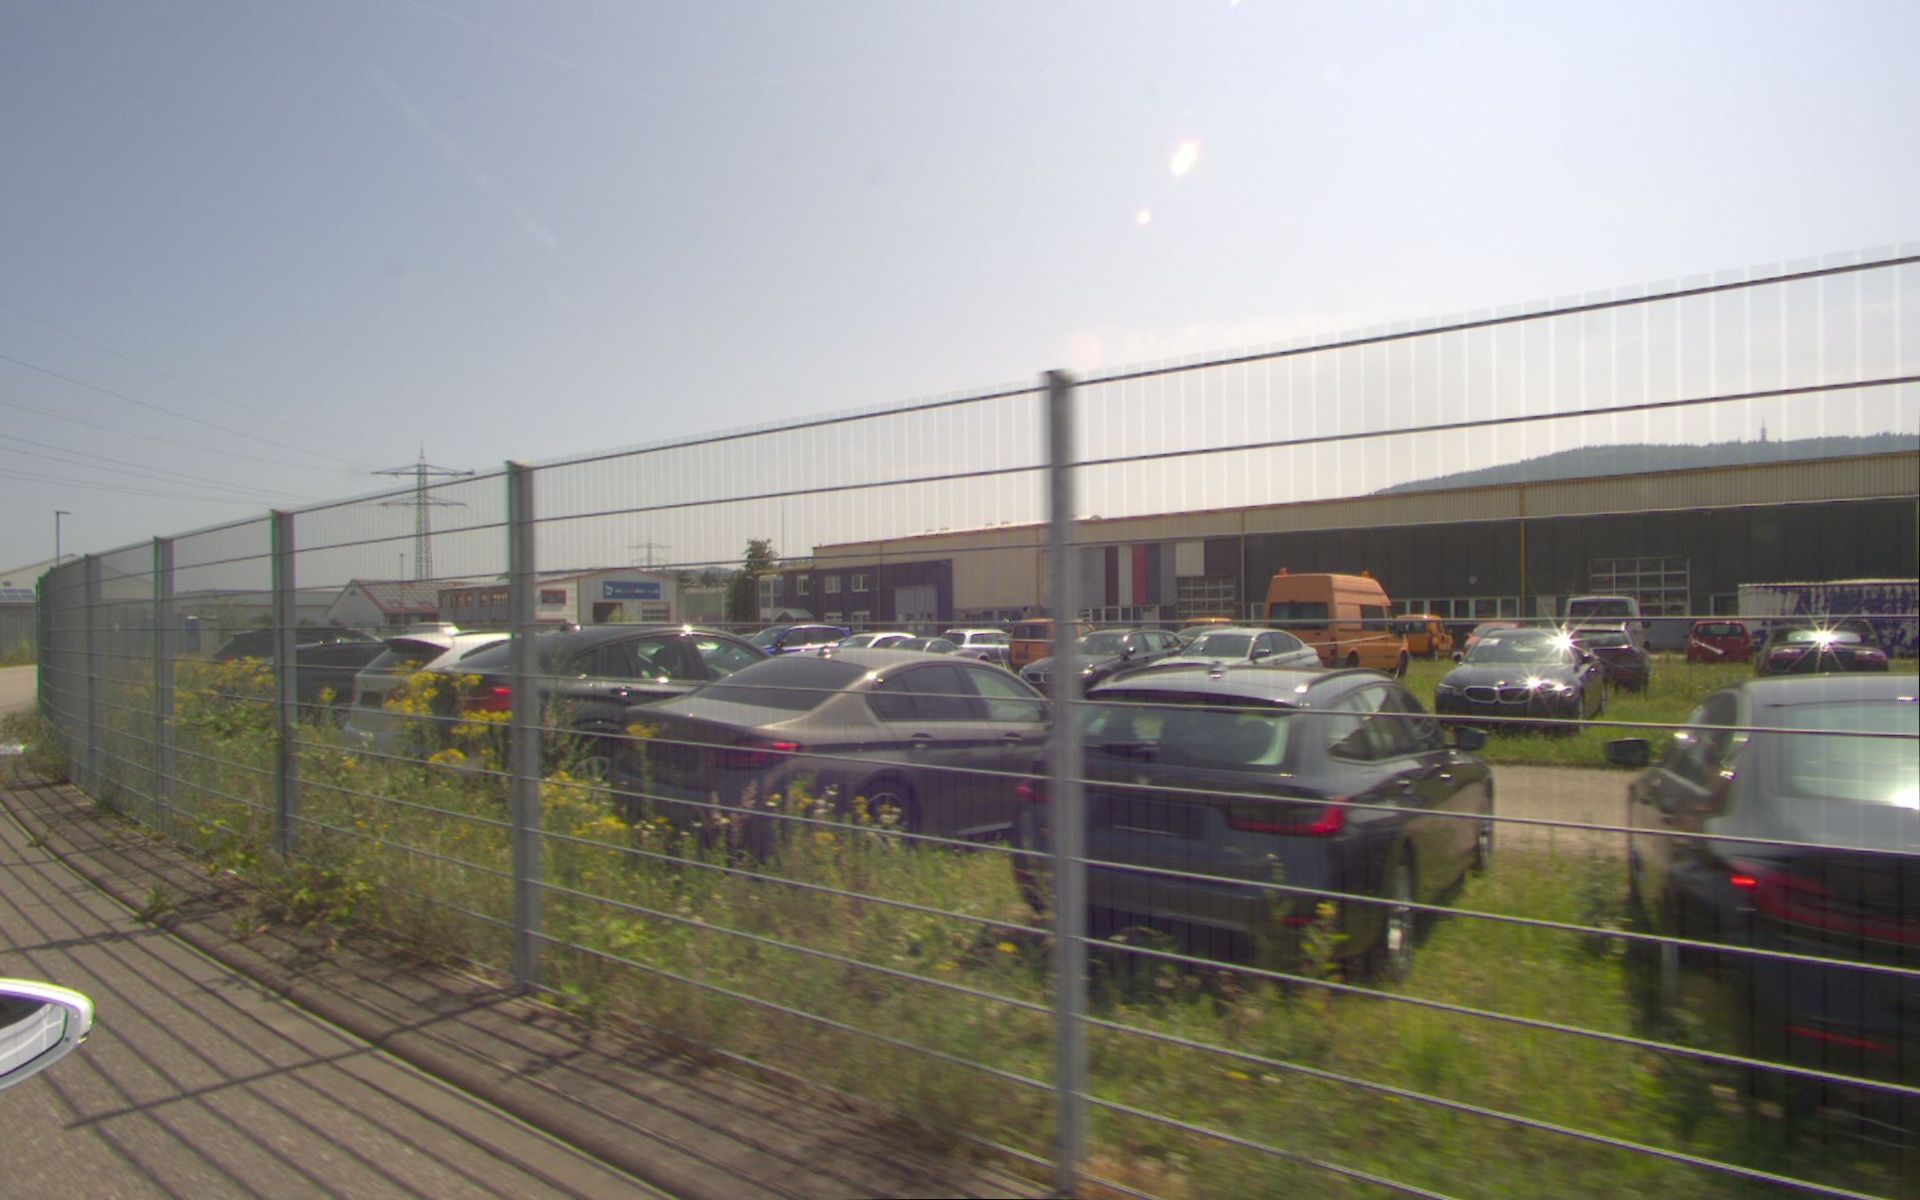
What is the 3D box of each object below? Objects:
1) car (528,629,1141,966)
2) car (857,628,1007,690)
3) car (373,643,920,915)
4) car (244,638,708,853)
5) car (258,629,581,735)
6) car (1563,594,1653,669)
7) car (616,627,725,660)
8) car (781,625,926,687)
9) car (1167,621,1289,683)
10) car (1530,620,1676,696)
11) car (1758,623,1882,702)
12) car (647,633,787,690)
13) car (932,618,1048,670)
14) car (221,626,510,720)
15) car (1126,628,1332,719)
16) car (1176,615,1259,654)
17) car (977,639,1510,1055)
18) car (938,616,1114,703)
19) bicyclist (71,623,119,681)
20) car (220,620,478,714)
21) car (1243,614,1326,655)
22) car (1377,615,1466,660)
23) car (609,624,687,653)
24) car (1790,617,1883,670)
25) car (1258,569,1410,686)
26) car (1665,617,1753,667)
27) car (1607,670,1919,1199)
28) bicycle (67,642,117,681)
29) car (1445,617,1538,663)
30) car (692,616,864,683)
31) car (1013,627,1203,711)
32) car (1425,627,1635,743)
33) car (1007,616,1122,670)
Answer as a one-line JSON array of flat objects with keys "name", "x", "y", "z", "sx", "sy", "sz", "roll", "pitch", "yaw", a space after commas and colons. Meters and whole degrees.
[{"name": "car", "x": -0.586, "y": 1.070, "z": 7.357, "sx": 1.775, "sy": 1.603, "sz": 4.447, "roll": 0, "pitch": 0, "yaw": 41}, {"name": "car", "x": -0.623, "y": 1.398, "z": 24.709, "sx": 1.594, "sy": 1.319, "sz": 3.741, "roll": 0, "pitch": 0, "yaw": 42}, {"name": "car", "x": -2.552, "y": 1.316, "z": 9.022, "sx": 1.705, "sy": 1.692, "sz": 4.442, "roll": 0, "pitch": 0, "yaw": 44}, {"name": "car", "x": -4.910, "y": 1.319, "z": 10.583, "sx": 1.705, "sy": 1.692, "sz": 4.097, "roll": 0, "pitch": 0, "yaw": 44}, {"name": "car", "x": -8.585, "y": 1.211, "z": 16.141, "sx": 4.309, "sy": 1.396, "sz": 1.749, "roll": 0, "pitch": 0, "yaw": -42}, {"name": "car", "x": 20.679, "y": 0.945, "z": 31.888, "sx": 1.950, "sy": 2.200, "sz": 4.356, "roll": 0, "pitch": 0, "yaw": 39}, {"name": "car", "x": -12.789, "y": 1.910, "z": 44.463, "sx": 1.609, "sy": 1.368, "sz": 4.485, "roll": -2, "pitch": -2, "yaw": 43}, {"name": "car", "x": -2.762, "y": 1.412, "z": 26.540, "sx": 1.594, "sy": 1.456, "sz": 3.741, "roll": 0, "pitch": 0, "yaw": 42}, {"name": "car", "x": 7.142, "y": 1.314, "z": 26.491, "sx": 1.571, "sy": 1.481, "sz": 3.797, "roll": 0, "pitch": 0, "yaw": 42}, {"name": "car", "x": 12.962, "y": 1.075, "z": 20.057, "sx": 1.801, "sy": 1.286, "sz": 4.353, "roll": 0, "pitch": 0, "yaw": 42}, {"name": "car", "x": 15.728, "y": 1.051, "z": 18.287, "sx": 1.559, "sy": 1.199, "sz": 4.353, "roll": 0, "pitch": 0, "yaw": 42}, {"name": "car", "x": -7.049, "y": 1.733, "z": 29.302, "sx": 1.594, "sy": 1.456, "sz": 3.741, "roll": 0, "pitch": 0, "yaw": 42}, {"name": "car", "x": 0.999, "y": 1.334, "z": 31.596, "sx": 1.571, "sy": 1.481, "sz": 3.797, "roll": 0, "pitch": 0, "yaw": 42}, {"name": "car", "x": -10.441, "y": 1.201, "z": 17.747, "sx": 4.241, "sy": 1.396, "sz": 1.752, "roll": 0, "pitch": 0, "yaw": -36}, {"name": "car", "x": 5.150, "y": 1.268, "z": 18.739, "sx": 1.801, "sy": 1.369, "sz": 4.719, "roll": 0, "pitch": 0, "yaw": 42}, {"name": "car", "x": 10.822, "y": 1.395, "z": 41.899, "sx": 1.732, "sy": 1.505, "sz": 4.356, "roll": 0, "pitch": 0, "yaw": 39}, {"name": "car", "x": 2.058, "y": 1.011, "z": 6.040, "sx": 1.700, "sy": 1.400, "sz": 4.455, "roll": 0, "pitch": 0, "yaw": 36}, {"name": "car", "x": 1.596, "y": 1.284, "z": 23.140, "sx": 1.979, "sy": 1.740, "sz": 3.964, "roll": -1, "pitch": 0, "yaw": 43}, {"name": "bicyclist", "x": -25.371, "y": 1.507, "z": 29.377, "sx": 0.833, "sy": 1.639, "sz": 1.034, "roll": 1, "pitch": -1, "yaw": -28}, {"name": "car", "x": -12.086, "y": 1.268, "z": 20.115, "sx": 4.232, "sy": 1.659, "sz": 1.756, "roll": 0, "pitch": 0, "yaw": -29}, {"name": "car", "x": 13.061, "y": 1.348, "z": 40.154, "sx": 1.732, "sy": 1.505, "sz": 4.356, "roll": 0, "pitch": 0, "yaw": 39}, {"name": "car", "x": 16.849, "y": 1.317, "z": 36.455, "sx": 1.950, "sy": 1.505, "sz": 4.356, "roll": 0, "pitch": 0, "yaw": 39}, {"name": "car", "x": -21.964, "y": 2.696, "z": 70.699, "sx": 1.838, "sy": 1.923, "sz": 5.032, "roll": -1, "pitch": -2, "yaw": 43}, {"name": "car", "x": 26.021, "y": 1.248, "z": 29.856, "sx": 1.950, "sy": 1.404, "sz": 4.356, "roll": 0, "pitch": 0, "yaw": 39}, {"name": "car", "x": 9.312, "y": 0.632, "z": 24.705, "sx": 1.958, "sy": 2.619, "sz": 4.706, "roll": 0, "pitch": 0, "yaw": 42}, {"name": "car", "x": 22.775, "y": 1.225, "z": 30.377, "sx": 1.950, "sy": 1.340, "sz": 4.356, "roll": 0, "pitch": 0, "yaw": 39}, {"name": "car", "x": 3.686, "y": 1.026, "z": 3.950, "sx": 1.700, "sy": 1.399, "sz": 4.453, "roll": 0, "pitch": -3, "yaw": 36}, {"name": "bicycle", "x": -25.334, "y": 1.785, "z": 29.252, "sx": 0.677, "sy": 1.065, "sz": 1.892, "roll": 1, "pitch": -2, "yaw": -28}, {"name": "car", "x": 18.064, "y": 1.314, "z": 33.949, "sx": 1.821, "sy": 1.396, "sz": 4.353, "roll": 0, "pitch": 0, "yaw": 42}, {"name": "car", "x": -4.971, "y": 1.303, "z": 27.751, "sx": 4.431, "sy": 1.670, "sz": 1.860, "roll": 0, "pitch": 0, "yaw": -44}, {"name": "car", "x": 3.137, "y": 1.316, "z": 20.483, "sx": 1.644, "sy": 1.451, "sz": 4.537, "roll": 0, "pitch": 0, "yaw": 42}, {"name": "car", "x": 8.691, "y": 1.138, "z": 15.066, "sx": 1.801, "sy": 1.369, "sz": 4.719, "roll": 0, "pitch": 0, "yaw": 42}, {"name": "car", "x": 3.224, "y": 1.248, "z": 30.395, "sx": 1.571, "sy": 1.481, "sz": 3.797, "roll": 0, "pitch": 0, "yaw": 42}]
